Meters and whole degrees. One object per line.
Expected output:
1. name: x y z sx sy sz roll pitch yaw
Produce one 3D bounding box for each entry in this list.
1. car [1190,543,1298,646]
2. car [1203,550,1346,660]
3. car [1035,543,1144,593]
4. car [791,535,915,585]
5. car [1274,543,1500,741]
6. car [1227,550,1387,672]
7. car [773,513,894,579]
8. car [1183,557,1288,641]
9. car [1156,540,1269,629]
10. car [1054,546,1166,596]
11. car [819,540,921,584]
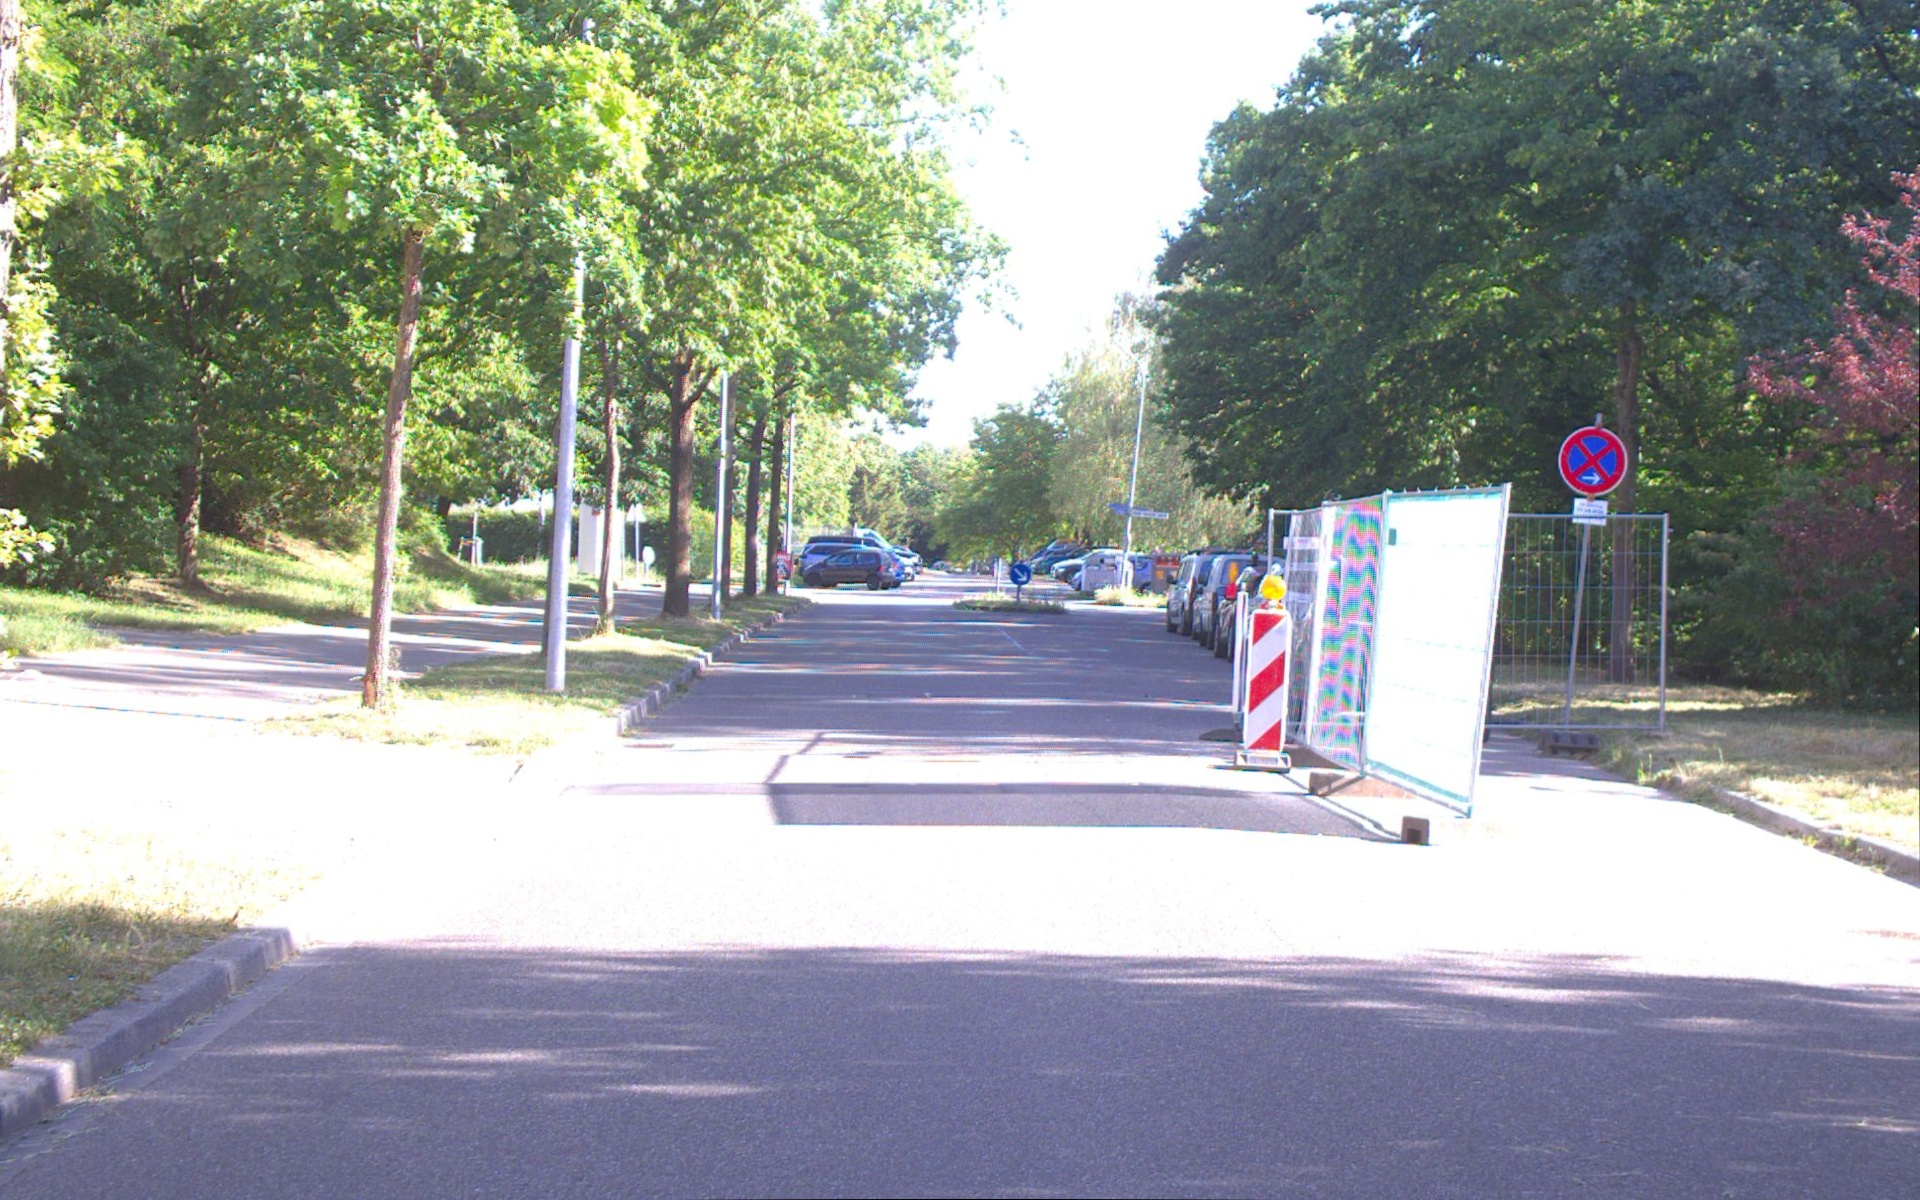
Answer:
1. car: 5.266 -0.126 64.107 1.623 1.767 3.669 4 1 0
2. car: 5.099 0.053 56.159 1.775 1.616 4.065 4 1 -1
3. car: 4.806 -1.188 127.558 3.839 1.571 1.688 4 1 7
4. car: -4.002 -1.498 129.343 4.319 1.571 2.045 4 1 7
5. car: 4.004 0.350 32.865 1.810 1.645 4.420 4 1 4
6. car: 5.080 0.128 50.839 1.775 1.616 4.065 4 1 -1
7. car: -5.720 -2.442 154.603 5.199 2.612 2.294 4 1 -4
8. car: 5.506 -0.044 69.184 1.691 1.507 4.206 4 1 0
9. car: 5.500 -0.367 75.327 1.791 1.779 4.557 4 1 -3
10. car: 5.457 -1.055 124.728 3.839 1.571 1.688 4 1 7
11. car: -3.804 -1.624 145.647 4.107 1.571 1.958 4 1 2
